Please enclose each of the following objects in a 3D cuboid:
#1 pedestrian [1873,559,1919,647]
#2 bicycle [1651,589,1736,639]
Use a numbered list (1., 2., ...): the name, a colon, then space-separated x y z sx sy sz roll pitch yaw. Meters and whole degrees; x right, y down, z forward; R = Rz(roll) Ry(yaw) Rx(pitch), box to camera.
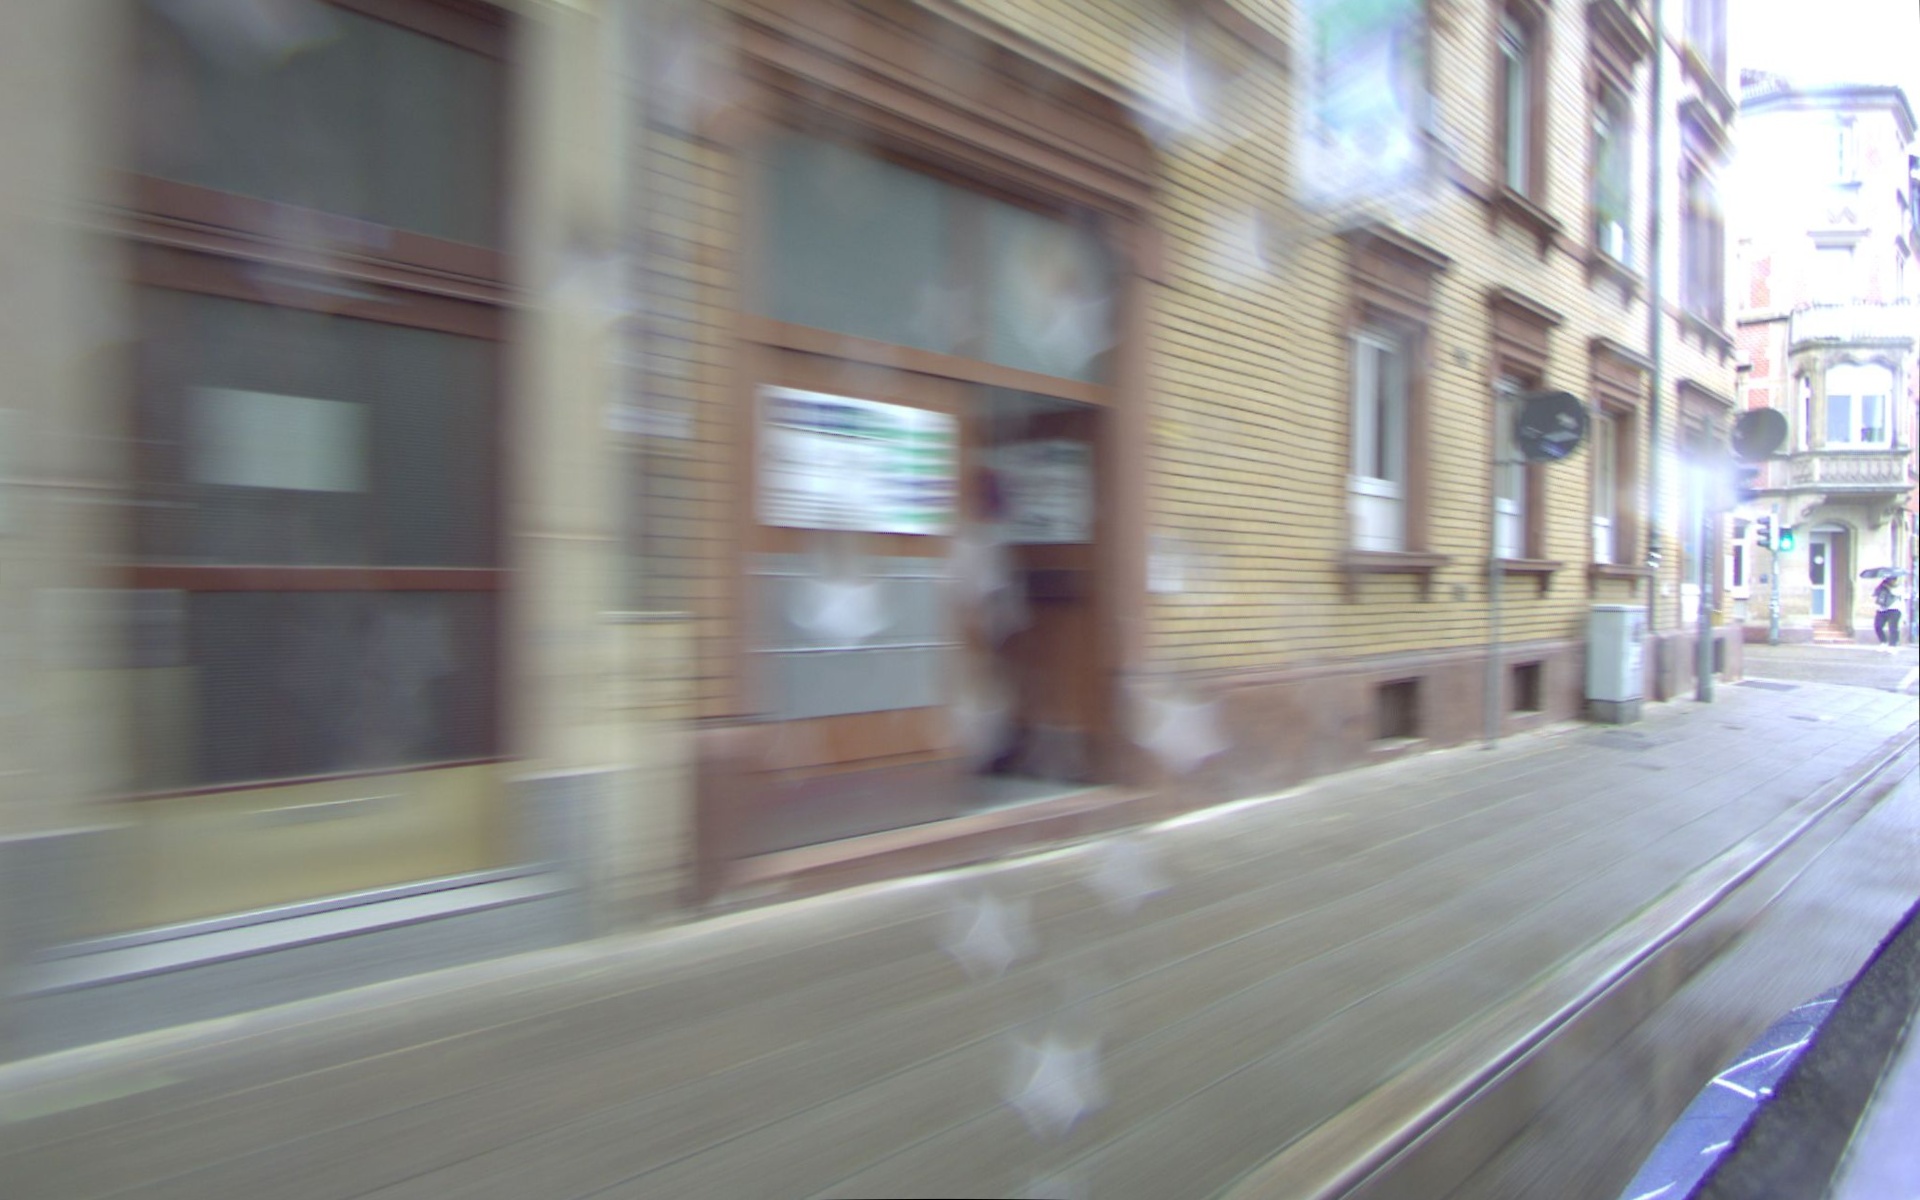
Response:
1. pedestrian: 21.525 0.051 23.101 0.913 1.936 0.787 -1 5 -41
2. bicycle: 18.808 0.357 25.967 1.685 1.237 0.668 0 1 44
